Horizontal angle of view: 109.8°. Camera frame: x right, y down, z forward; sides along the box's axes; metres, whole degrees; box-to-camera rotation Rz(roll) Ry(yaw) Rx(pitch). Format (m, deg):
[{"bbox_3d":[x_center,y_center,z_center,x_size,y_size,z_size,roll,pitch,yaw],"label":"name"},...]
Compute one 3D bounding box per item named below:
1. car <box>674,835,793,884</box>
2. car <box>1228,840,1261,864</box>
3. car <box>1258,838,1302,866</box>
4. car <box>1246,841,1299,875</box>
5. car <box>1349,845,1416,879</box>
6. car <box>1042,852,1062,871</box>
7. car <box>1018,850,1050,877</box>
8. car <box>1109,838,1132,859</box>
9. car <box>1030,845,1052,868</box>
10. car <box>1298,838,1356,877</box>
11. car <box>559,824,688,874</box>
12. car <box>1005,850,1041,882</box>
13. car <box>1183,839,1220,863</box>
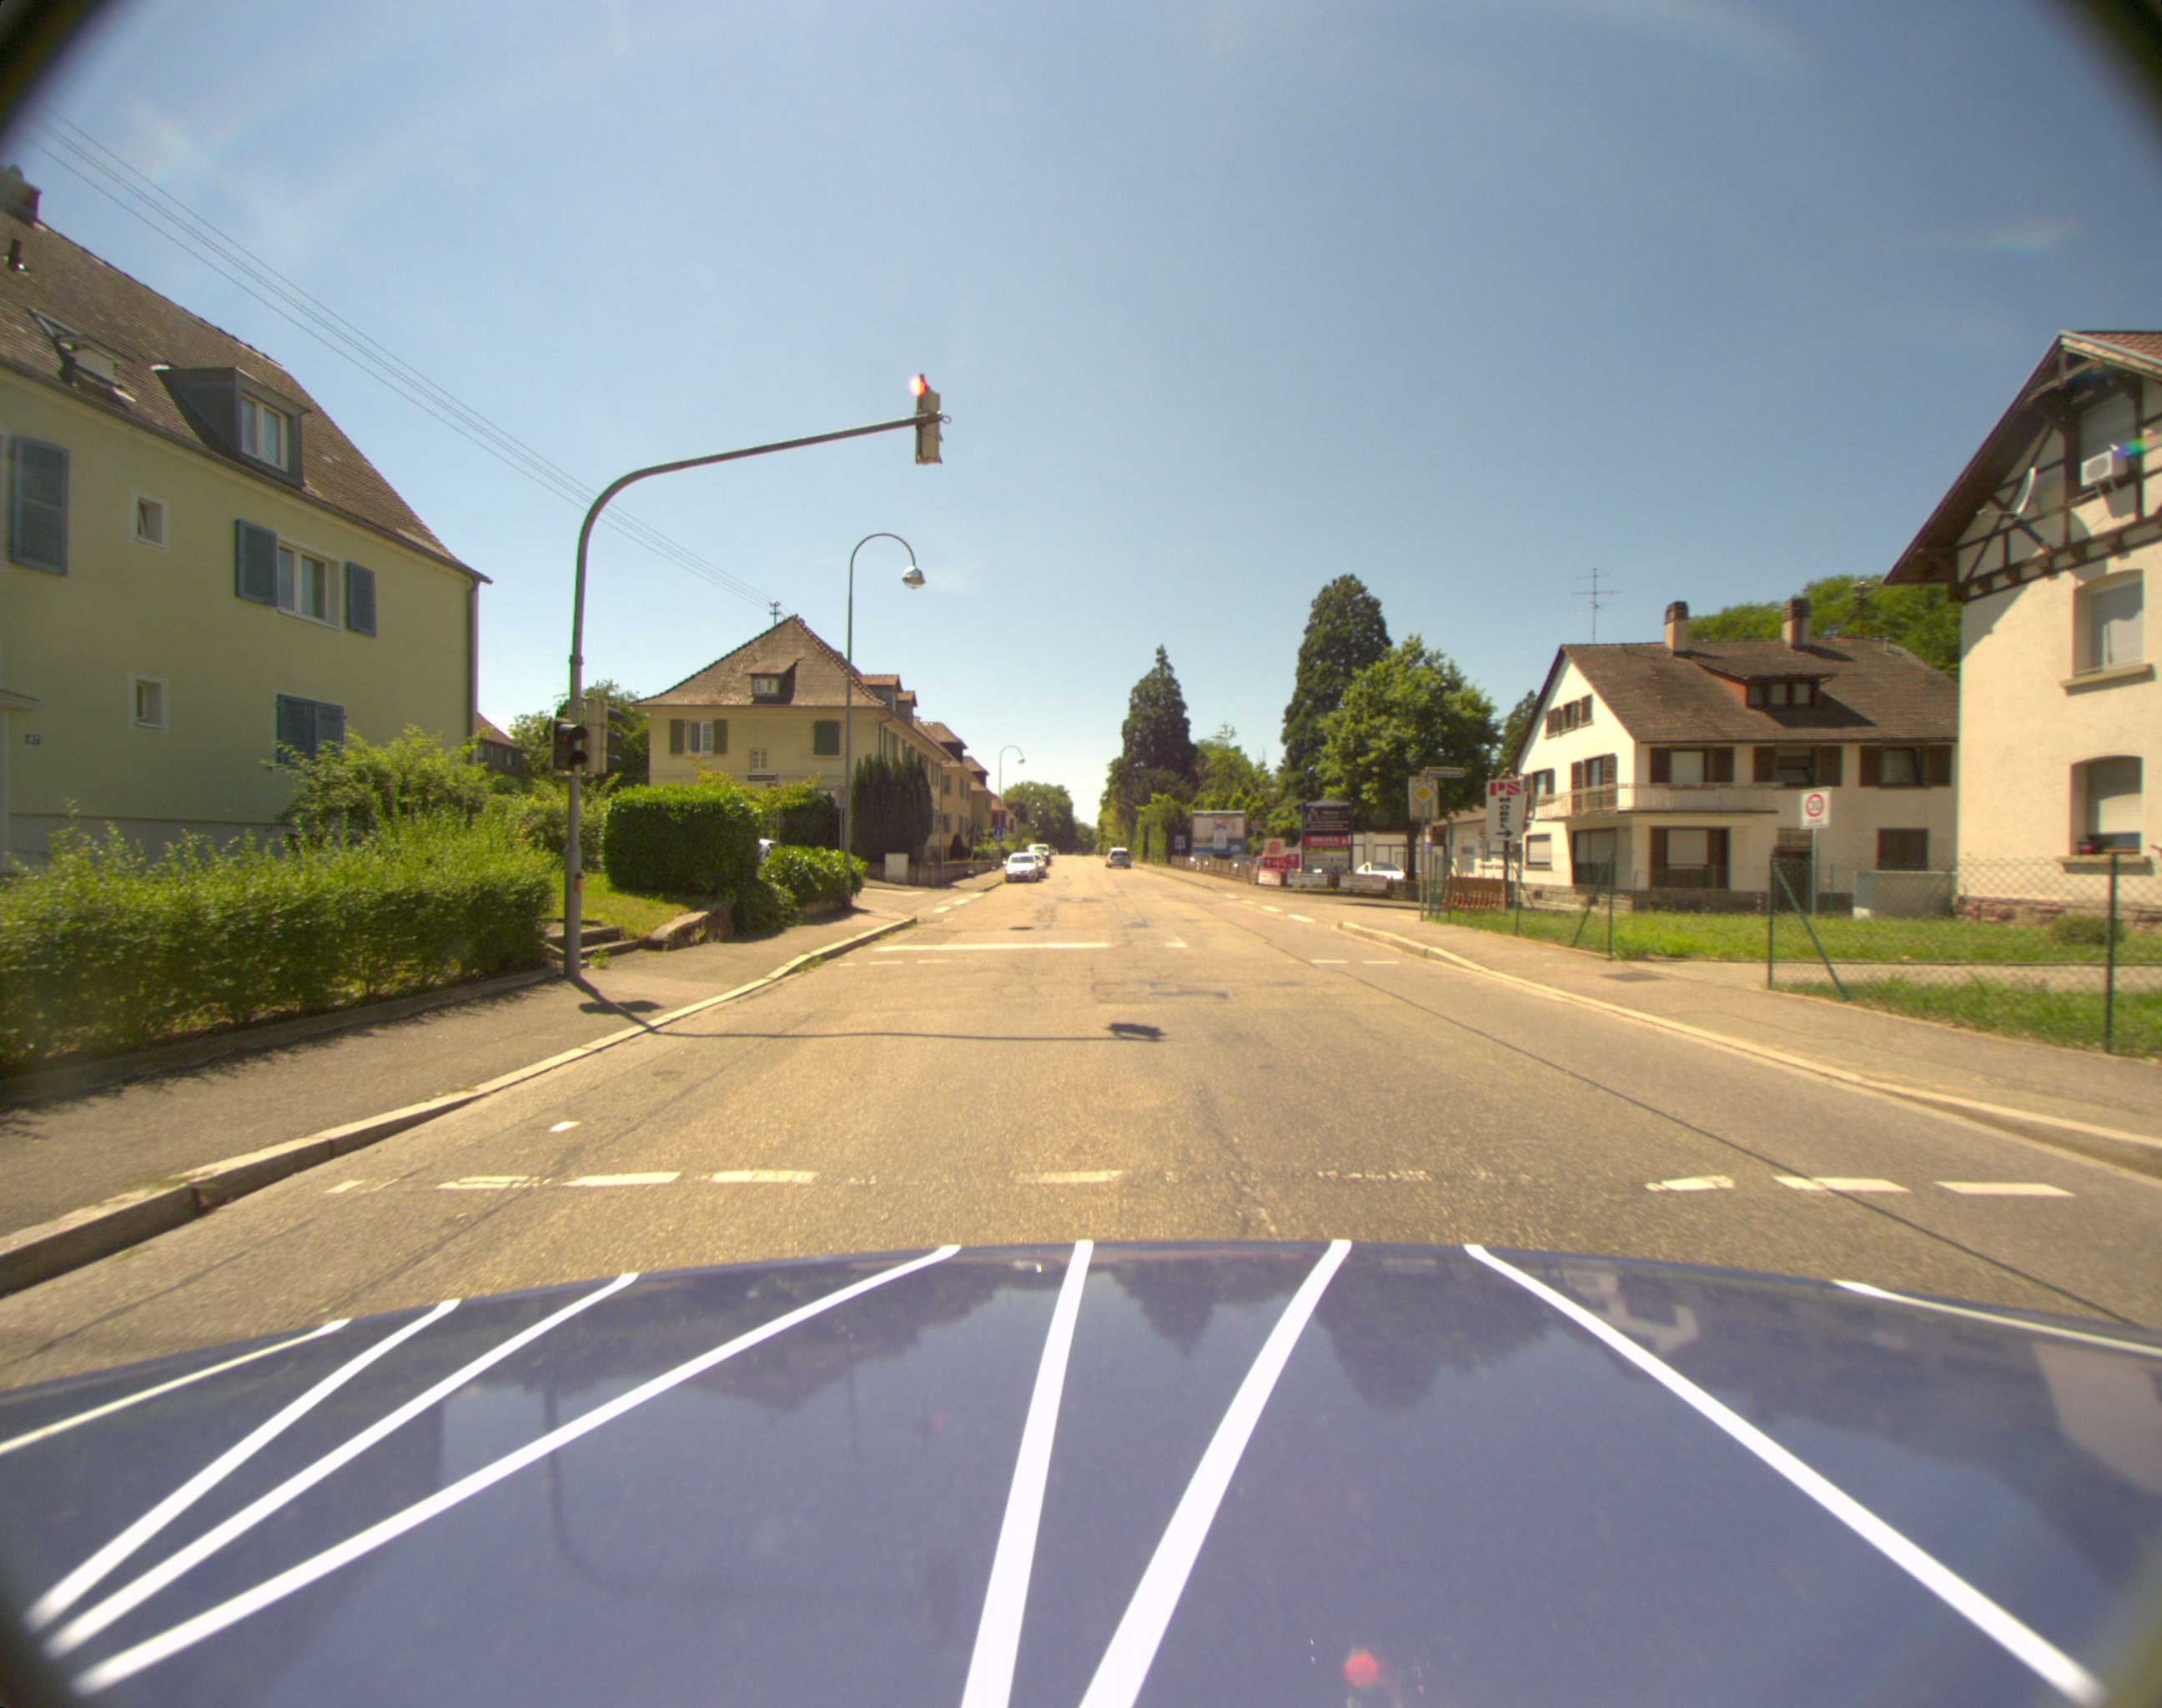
[{"bbox_3d":[-12.278,0.179,26.953,3.412,1.444,1.613,5,1,5],"label":"car"},{"bbox_3d":[11.233,-0.160,52.416,1.797,1.510,4.001,1,2,7],"label":"car"},{"bbox_3d":[13.416,-0.184,51.381,1.799,1.733,3.998,1,2,-2],"label":"car"},{"bbox_3d":[8.929,0.147,35.712,1.798,1.509,4.001,1,1,5],"label":"car"},{"bbox_3d":[13.835,0.313,35.133,1.798,1.425,4.001,1,1,5],"label":"car"},{"bbox_3d":[-2.486,0.586,64.029,1.600,1.495,3.998,0,1,-3],"label":"car"},{"bbox_3d":[-2.652,0.506,43.480,1.671,1.427,3.998,1,1,-2],"label":"car"},{"bbox_3d":[3.133,-0.466,60.541,1.656,1.553,3.884,1,1,0],"label":"car"},{"bbox_3d":[-3.591,0.208,69.182,1.852,1.858,4.689,-2,2,-2],"label":"car"},{"bbox_3d":[11.503,0.103,35.785,1.797,1.669,4.626,1,1,8],"label":"car"},{"bbox_3d":[-16.061,-0.170,26.778,3.509,1.444,1.613,5,1,4],"label":"car"},{"bbox_3d":[-2.897,0.577,38.619,1.671,1.457,3.998,0,1,-3],"label":"car"},{"bbox_3d":[8.279,-0.228,52.504,1.799,1.510,3.998,1,2,-2],"label":"car"}]
